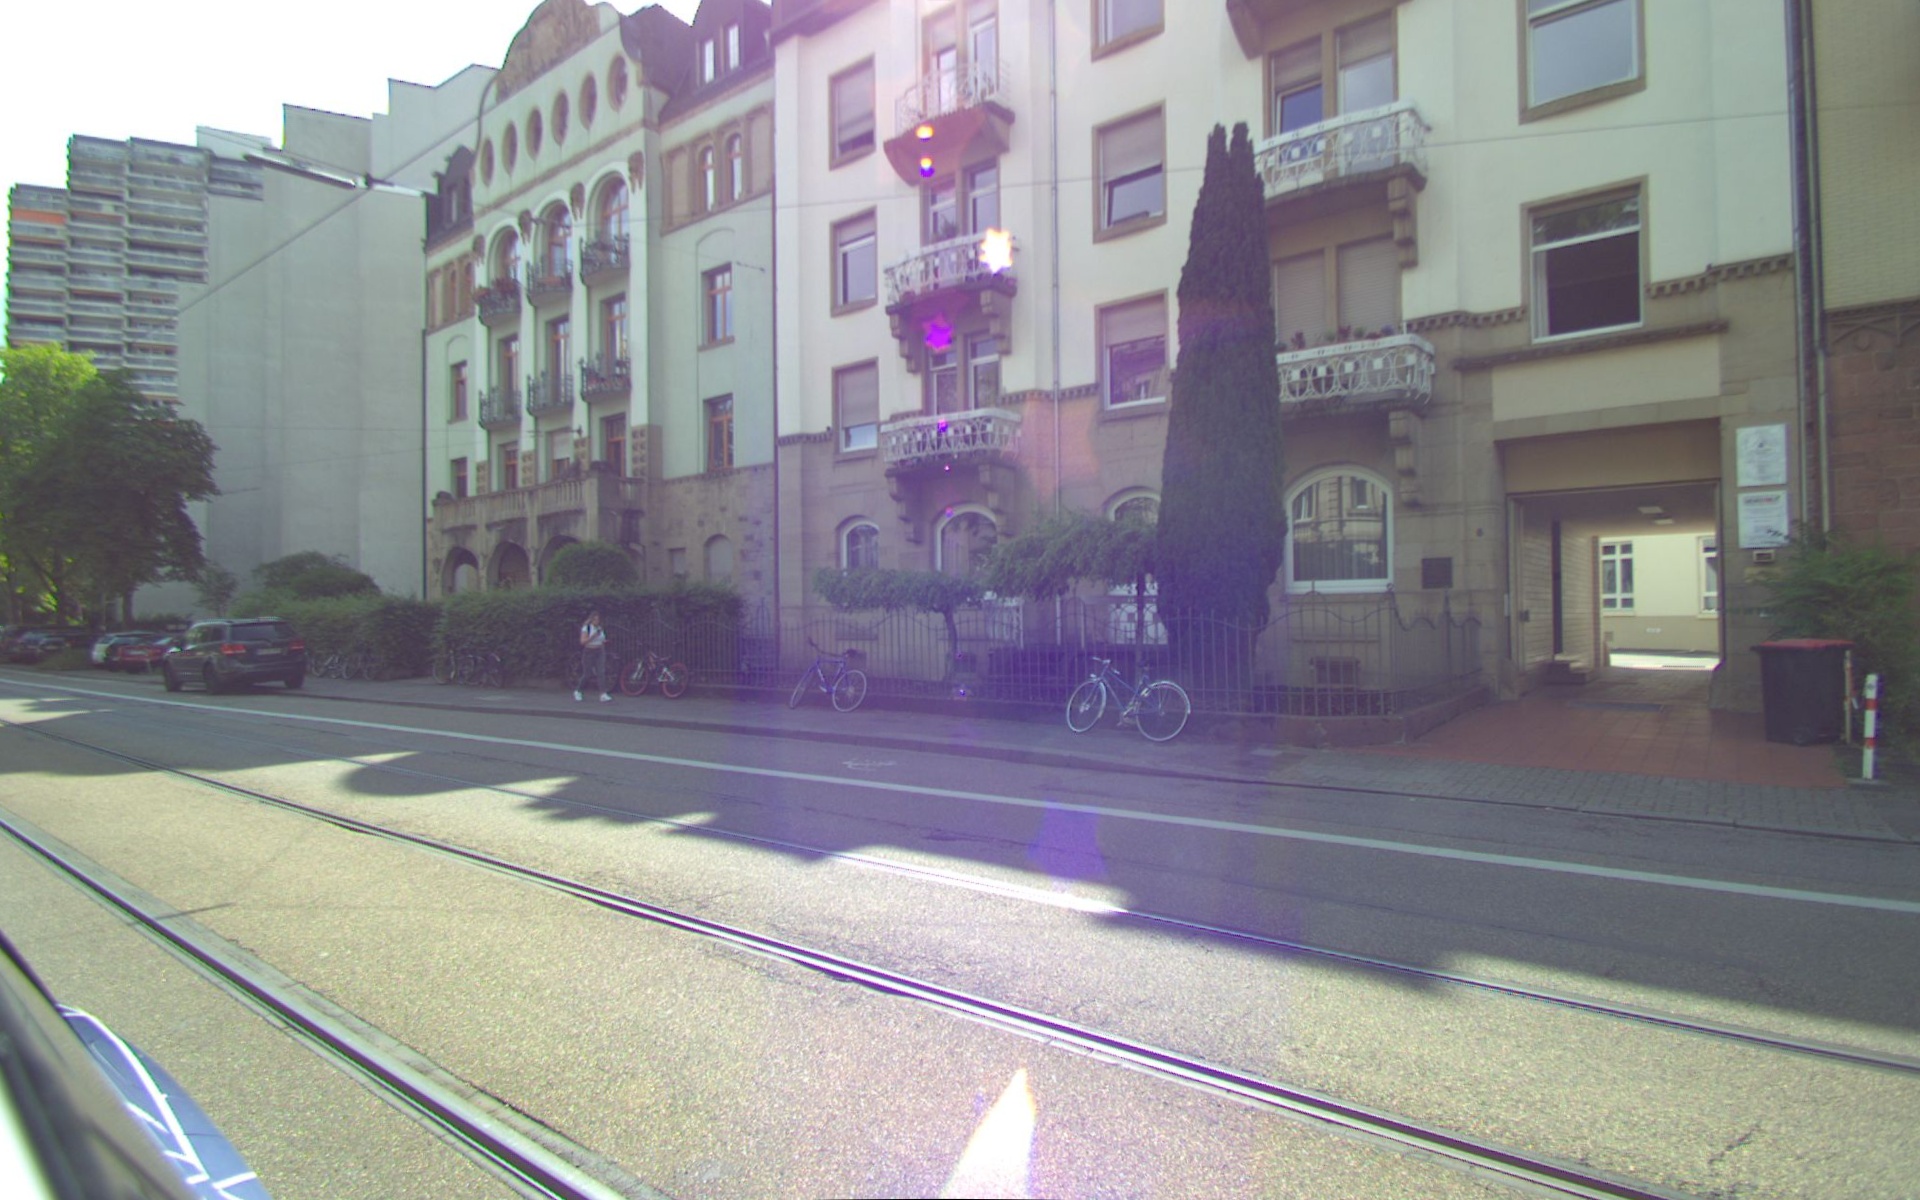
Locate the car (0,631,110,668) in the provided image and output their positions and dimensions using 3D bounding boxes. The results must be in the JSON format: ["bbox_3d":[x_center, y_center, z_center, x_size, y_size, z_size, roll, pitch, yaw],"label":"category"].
[{"bbox_3d":[-41.686,2.319,46.740,1.714,1.605,4.005,1,-3,-6],"label":"car"}]

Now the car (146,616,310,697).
[{"bbox_3d":[-17.625,1.323,24.300,4.873,1.776,1.769,-2,-2,36],"label":"car"}]

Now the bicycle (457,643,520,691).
[{"bbox_3d":[-10.100,1.413,21.650,1.798,0.966,0.447,-2,-1,38],"label":"bicycle"}]

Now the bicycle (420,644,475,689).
[{"bbox_3d":[-11.681,1.504,23.043,1.919,0.966,0.379,-2,-1,40],"label":"bicycle"}]

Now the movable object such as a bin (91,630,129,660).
[{"bbox_3d":[-52.508,2.755,62.527,1.535,1.795,1.375,-1,-5,34],"label":"movable object such as a bin"}]

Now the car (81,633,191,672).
[{"bbox_3d":[-33.403,2.153,41.157,1.671,1.495,3.813,1,-3,-7],"label":"car"}]

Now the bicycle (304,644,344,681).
[{"bbox_3d":[-17.275,1.692,27.479,1.808,0.966,0.379,-2,-1,40],"label":"bicycle"}]

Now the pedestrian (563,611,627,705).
[{"bbox_3d":[-6.423,1.001,17.800,0.881,1.580,0.673,-2,0,40],"label":"pedestrian"}]

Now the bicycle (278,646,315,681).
[{"bbox_3d":[-18.892,1.795,28.800,1.808,0.966,0.379,-2,-1,40],"label":"bicycle"}]

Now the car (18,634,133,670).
[{"bbox_3d":[-39.023,2.301,44.793,1.715,1.495,4.003,1,-3,-4],"label":"car"}]

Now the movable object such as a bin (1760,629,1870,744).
[{"bbox_3d":[8.698,0.860,10.311,0.587,1.077,0.609,-2,1,-18],"label":"movable object such as a bin"}]

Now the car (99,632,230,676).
[{"bbox_3d":[-28.820,1.969,36.820,1.818,1.495,3.974,1,-3,-5],"label":"car"}]

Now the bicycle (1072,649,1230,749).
[{"bbox_3d":[2.169,1.103,11.684,0.505,0.966,1.816,-3,3,-45],"label":"bicycle"}]

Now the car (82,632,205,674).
[{"bbox_3d":[-31.208,2.045,38.829,1.673,1.495,3.808,1,-3,-1],"label":"car"}]

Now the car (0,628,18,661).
[{"bbox_3d":[-59.374,2.695,60.527,1.939,2.012,4.689,-1,-2,-4],"label":"car"}]

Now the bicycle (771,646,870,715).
[{"bbox_3d":[-2.123,1.180,15.218,1.704,0.966,0.422,-2,-1,40],"label":"bicycle"}]

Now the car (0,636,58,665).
[{"bbox_3d":[-49.345,2.619,52.555,1.732,1.428,4.006,1,-3,-8],"label":"car"}]

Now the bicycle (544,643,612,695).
[{"bbox_3d":[-7.412,1.322,19.614,1.799,0.966,0.379,-2,-1,40],"label":"bicycle"}]

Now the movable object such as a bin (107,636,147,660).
[{"bbox_3d":[-49.781,2.894,60.485,1.535,1.374,1.375,-1,-5,34],"label":"movable object such as a bin"}]

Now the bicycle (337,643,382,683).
[{"bbox_3d":[-15.424,1.610,25.981,1.919,0.966,0.379,-2,-1,40],"label":"bicycle"}]

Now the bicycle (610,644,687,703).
[{"bbox_3d":[-5.550,1.286,17.967,1.799,0.983,0.379,-2,-1,40],"label":"bicycle"}]

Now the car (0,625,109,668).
[{"bbox_3d":[-44.095,2.279,49.020,1.886,1.969,5.176,1,-3,-8],"label":"car"}]

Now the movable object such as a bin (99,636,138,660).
[{"bbox_3d":[-51.114,2.923,61.465,1.535,1.374,1.375,-1,-5,34],"label":"movable object such as a bin"}]

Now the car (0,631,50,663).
[{"bbox_3d":[-51.742,2.551,54.773,1.733,1.706,3.719,1,-3,-5],"label":"car"}]
